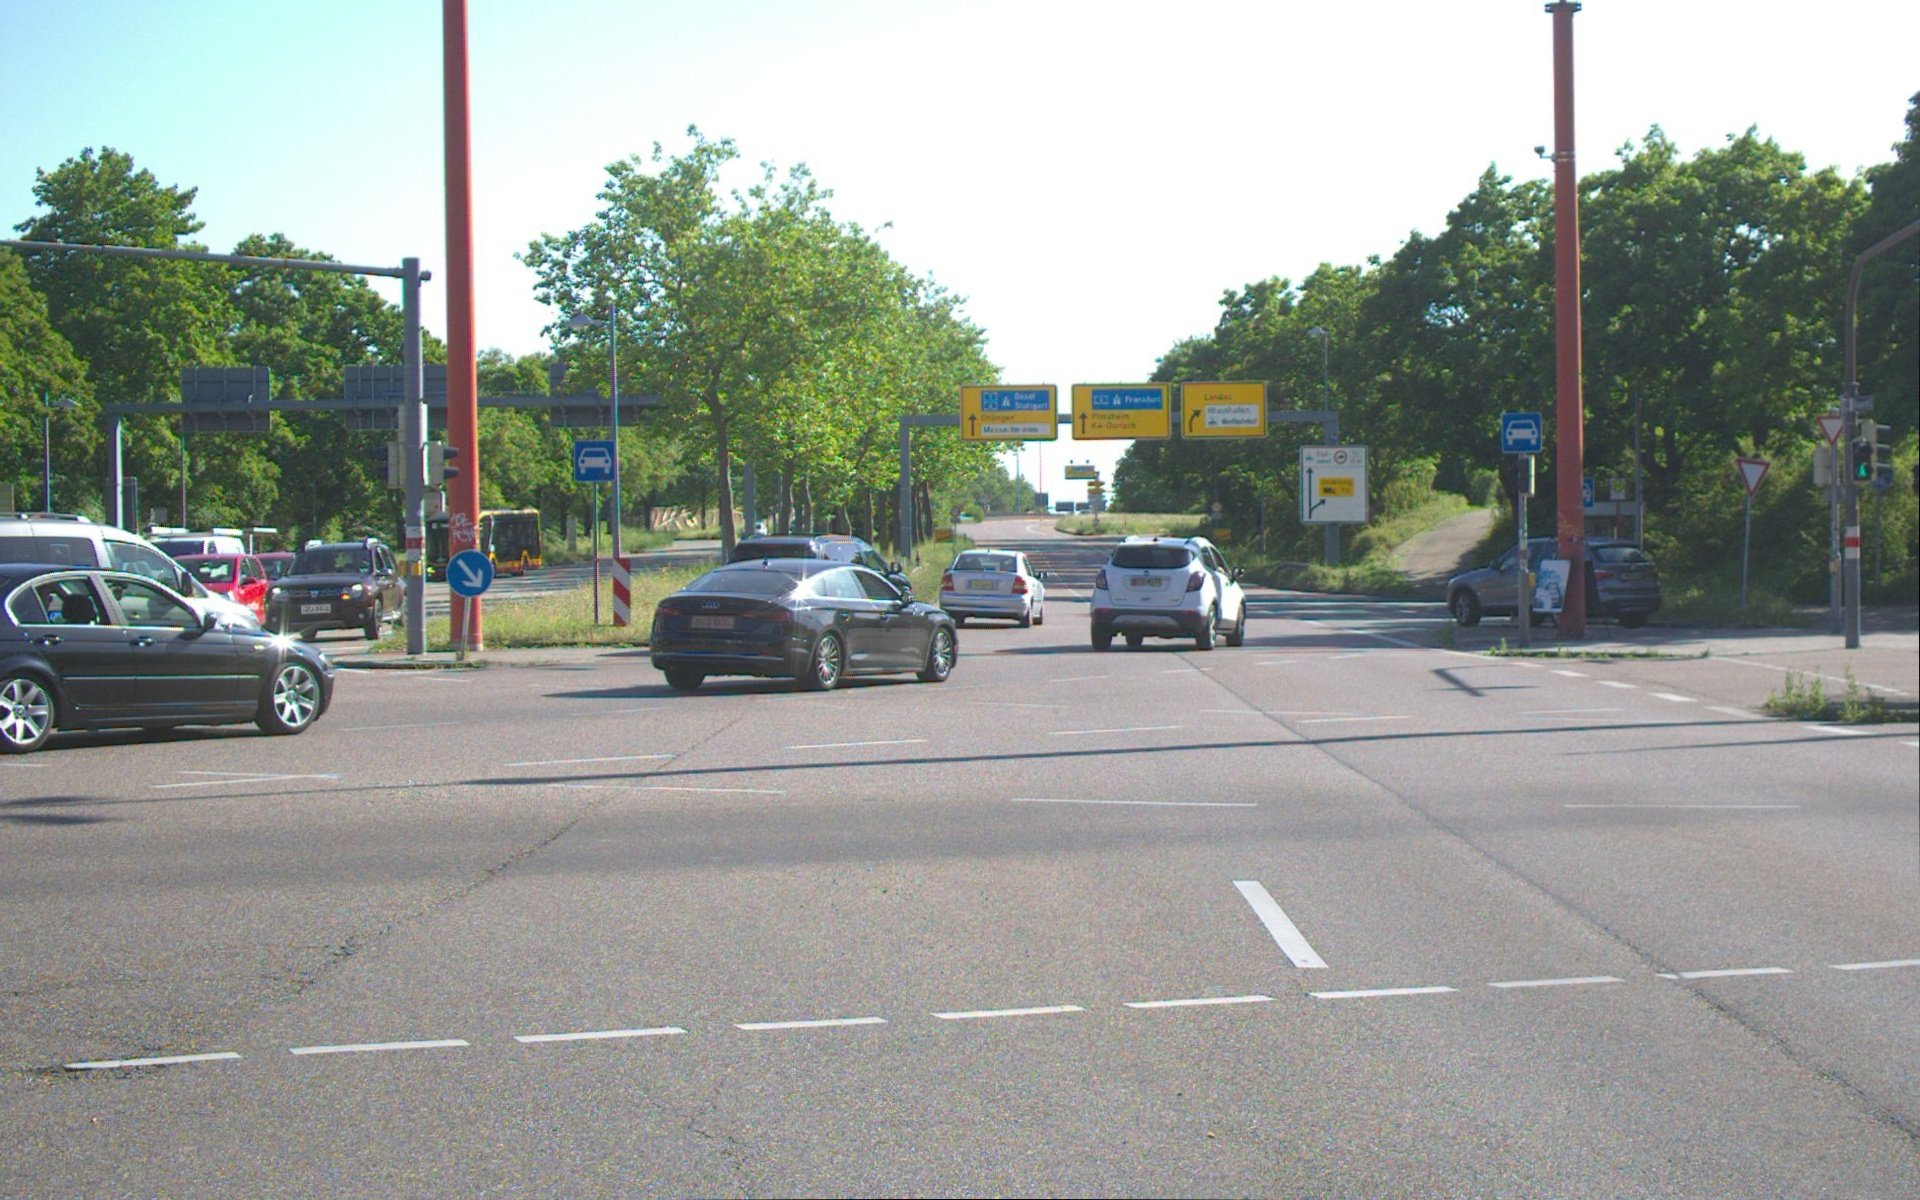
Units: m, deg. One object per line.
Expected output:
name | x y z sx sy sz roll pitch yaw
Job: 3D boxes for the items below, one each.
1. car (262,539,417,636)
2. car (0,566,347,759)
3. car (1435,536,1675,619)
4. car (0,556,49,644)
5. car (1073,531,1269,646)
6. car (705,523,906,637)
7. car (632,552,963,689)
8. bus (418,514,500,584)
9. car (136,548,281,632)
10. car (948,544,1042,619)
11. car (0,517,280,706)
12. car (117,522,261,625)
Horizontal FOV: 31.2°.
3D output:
car | -10.072 -0.232 56.062 1.819 1.503 4.000 -1 1 -1
car | -6.878 0.444 26.399 1.763 1.345 4.355 0 1 33
car | 11.043 -0.435 64.042 1.780 1.480 4.328 -1 1 -38
car | -16.426 -0.016 57.049 1.739 1.406 3.613 -1 1 -1
car | 3.174 -0.197 50.858 1.824 1.630 4.249 0 1 19
car | -2.145 -0.311 48.926 1.853 1.540 4.260 0 1 12
car | -1.658 0.181 36.687 1.762 1.345 4.357 0 1 24
bus | -23.832 -2.451 163.957 2.492 3.227 10.001 -1 1 0
car | -12.695 -0.188 58.273 1.739 1.357 3.613 -1 1 -1
car | 0.664 -0.331 63.394 1.483 1.341 3.999 0 0 4
car | -8.646 0.073 32.910 1.848 1.702 4.300 0 1 28
car | -15.803 -0.541 70.747 1.893 2.019 5.223 1 0 -1
